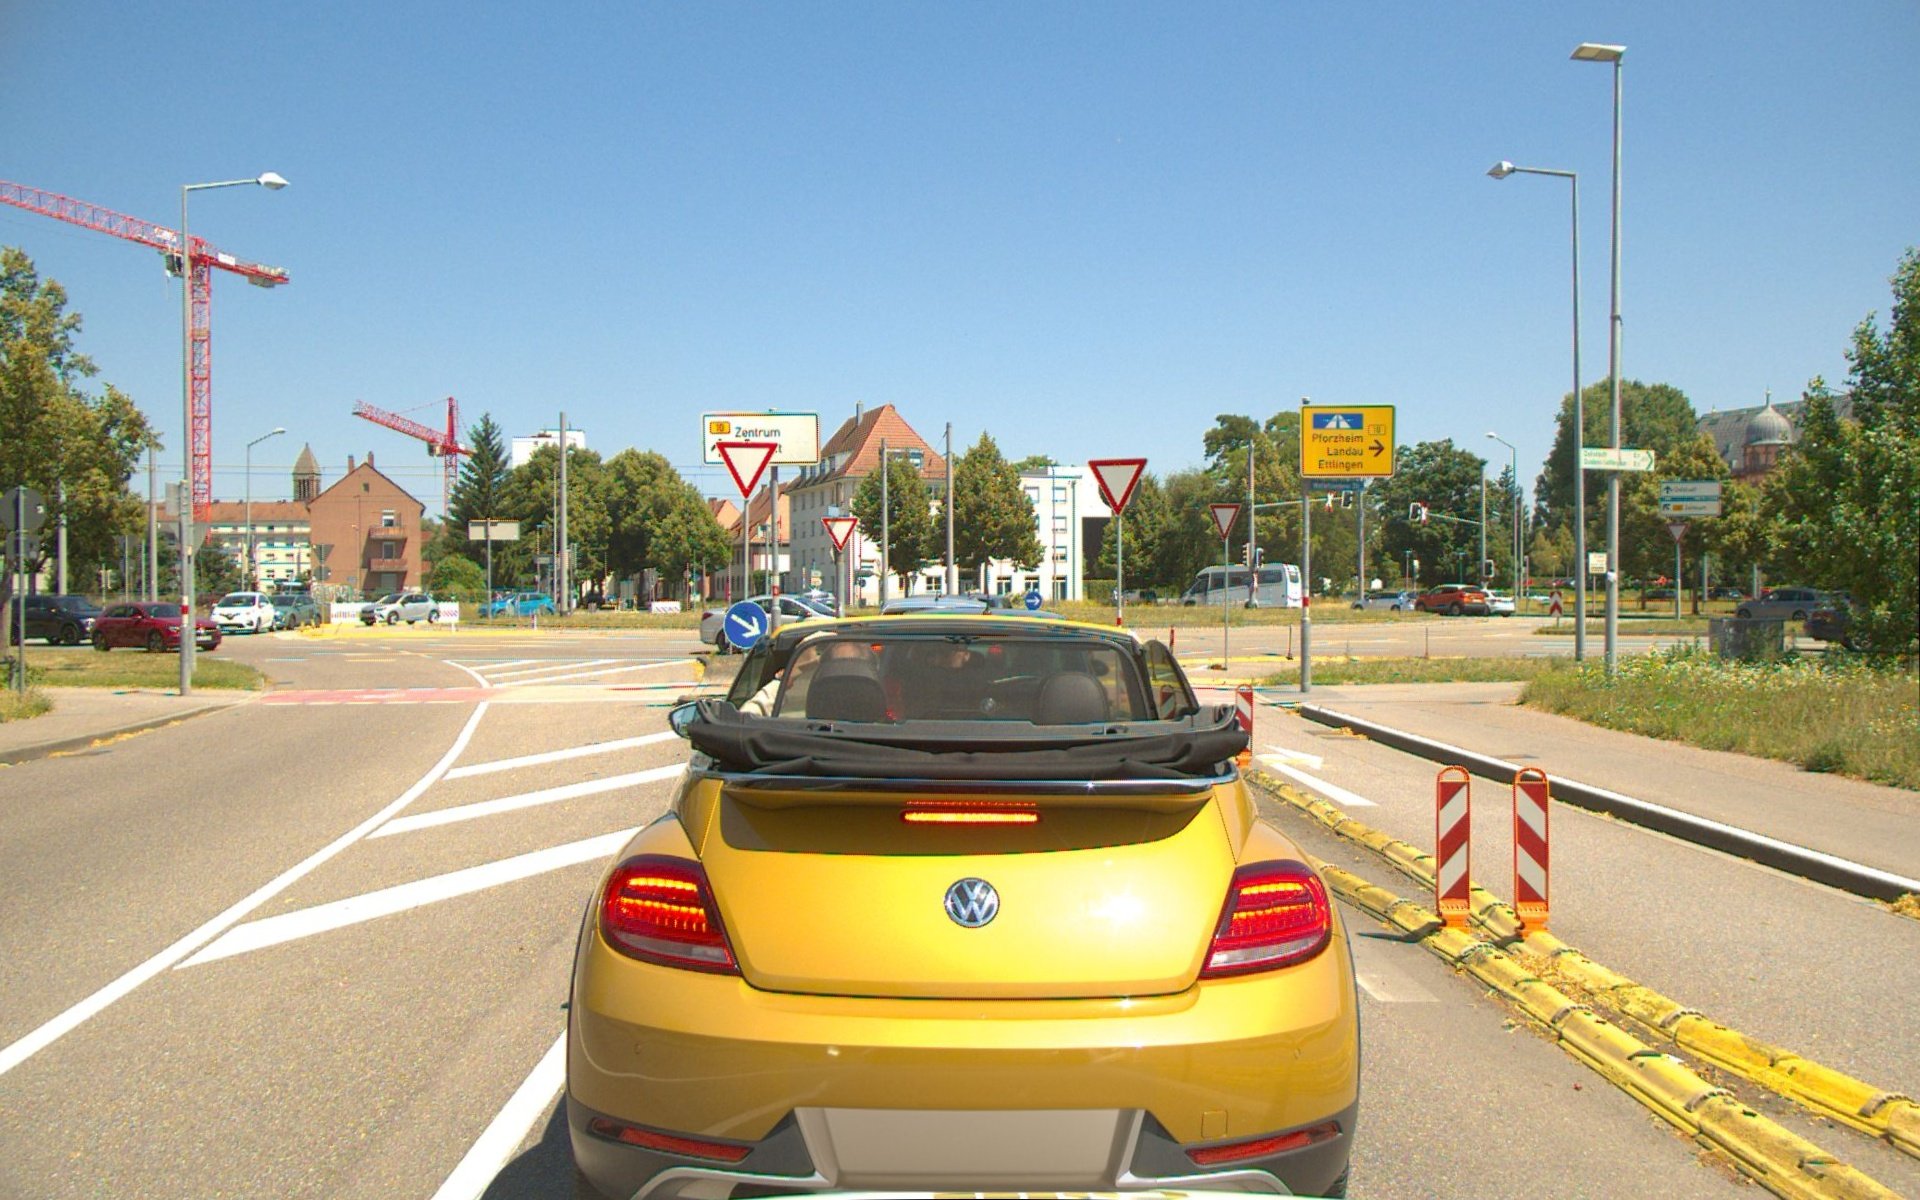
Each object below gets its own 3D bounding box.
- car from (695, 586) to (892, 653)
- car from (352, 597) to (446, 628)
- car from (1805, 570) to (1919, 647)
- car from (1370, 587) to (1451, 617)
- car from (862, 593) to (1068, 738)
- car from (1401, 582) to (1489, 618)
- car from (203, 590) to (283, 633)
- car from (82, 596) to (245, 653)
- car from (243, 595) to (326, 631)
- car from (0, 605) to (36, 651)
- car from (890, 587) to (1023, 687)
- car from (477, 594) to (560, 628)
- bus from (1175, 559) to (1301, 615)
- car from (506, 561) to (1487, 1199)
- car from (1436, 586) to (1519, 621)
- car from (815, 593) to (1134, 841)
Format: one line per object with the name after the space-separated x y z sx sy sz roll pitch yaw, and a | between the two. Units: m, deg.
-4.013 0.471 40.127 4.311 1.554 2.002 -1 0 13 | car
-26.446 0.604 78.054 1.693 1.427 4.267 1 0 26 | car
23.003 0.221 39.141 5.206 1.766 1.999 1 0 24 | car
26.823 0.106 98.530 1.833 1.766 4.375 1 0 -43 | car
0.022 0.658 18.567 2.023 1.406 4.257 1 0 -1 | car
24.768 0.011 84.634 1.820 1.766 4.407 1 0 -26 | car
-27.158 0.423 62.754 1.742 1.554 3.866 -1 0 -7 | car
-23.031 0.691 47.819 4.319 1.554 1.998 1 0 27 | car
-27.925 0.538 68.499 1.711 1.395 4.329 1 0 -2 | car
-36.318 0.986 60.815 4.319 1.623 1.998 1 0 27 | car
-0.083 0.550 27.672 2.023 1.506 4.542 -1 0 -1 | car
-24.080 0.620 90.315 3.967 1.803 1.847 1 -1 -43 | car
16.622 -0.799 99.041 7.125 3.228 2.254 1 0 33 | bus
0.038 0.708 5.066 1.729 1.507 4.257 1 0 -1 | car
27.731 0.165 88.743 1.770 1.803 3.942 1 0 -40 | car
0.055 0.662 11.621 1.814 1.389 4.257 -1 0 -1 | car
